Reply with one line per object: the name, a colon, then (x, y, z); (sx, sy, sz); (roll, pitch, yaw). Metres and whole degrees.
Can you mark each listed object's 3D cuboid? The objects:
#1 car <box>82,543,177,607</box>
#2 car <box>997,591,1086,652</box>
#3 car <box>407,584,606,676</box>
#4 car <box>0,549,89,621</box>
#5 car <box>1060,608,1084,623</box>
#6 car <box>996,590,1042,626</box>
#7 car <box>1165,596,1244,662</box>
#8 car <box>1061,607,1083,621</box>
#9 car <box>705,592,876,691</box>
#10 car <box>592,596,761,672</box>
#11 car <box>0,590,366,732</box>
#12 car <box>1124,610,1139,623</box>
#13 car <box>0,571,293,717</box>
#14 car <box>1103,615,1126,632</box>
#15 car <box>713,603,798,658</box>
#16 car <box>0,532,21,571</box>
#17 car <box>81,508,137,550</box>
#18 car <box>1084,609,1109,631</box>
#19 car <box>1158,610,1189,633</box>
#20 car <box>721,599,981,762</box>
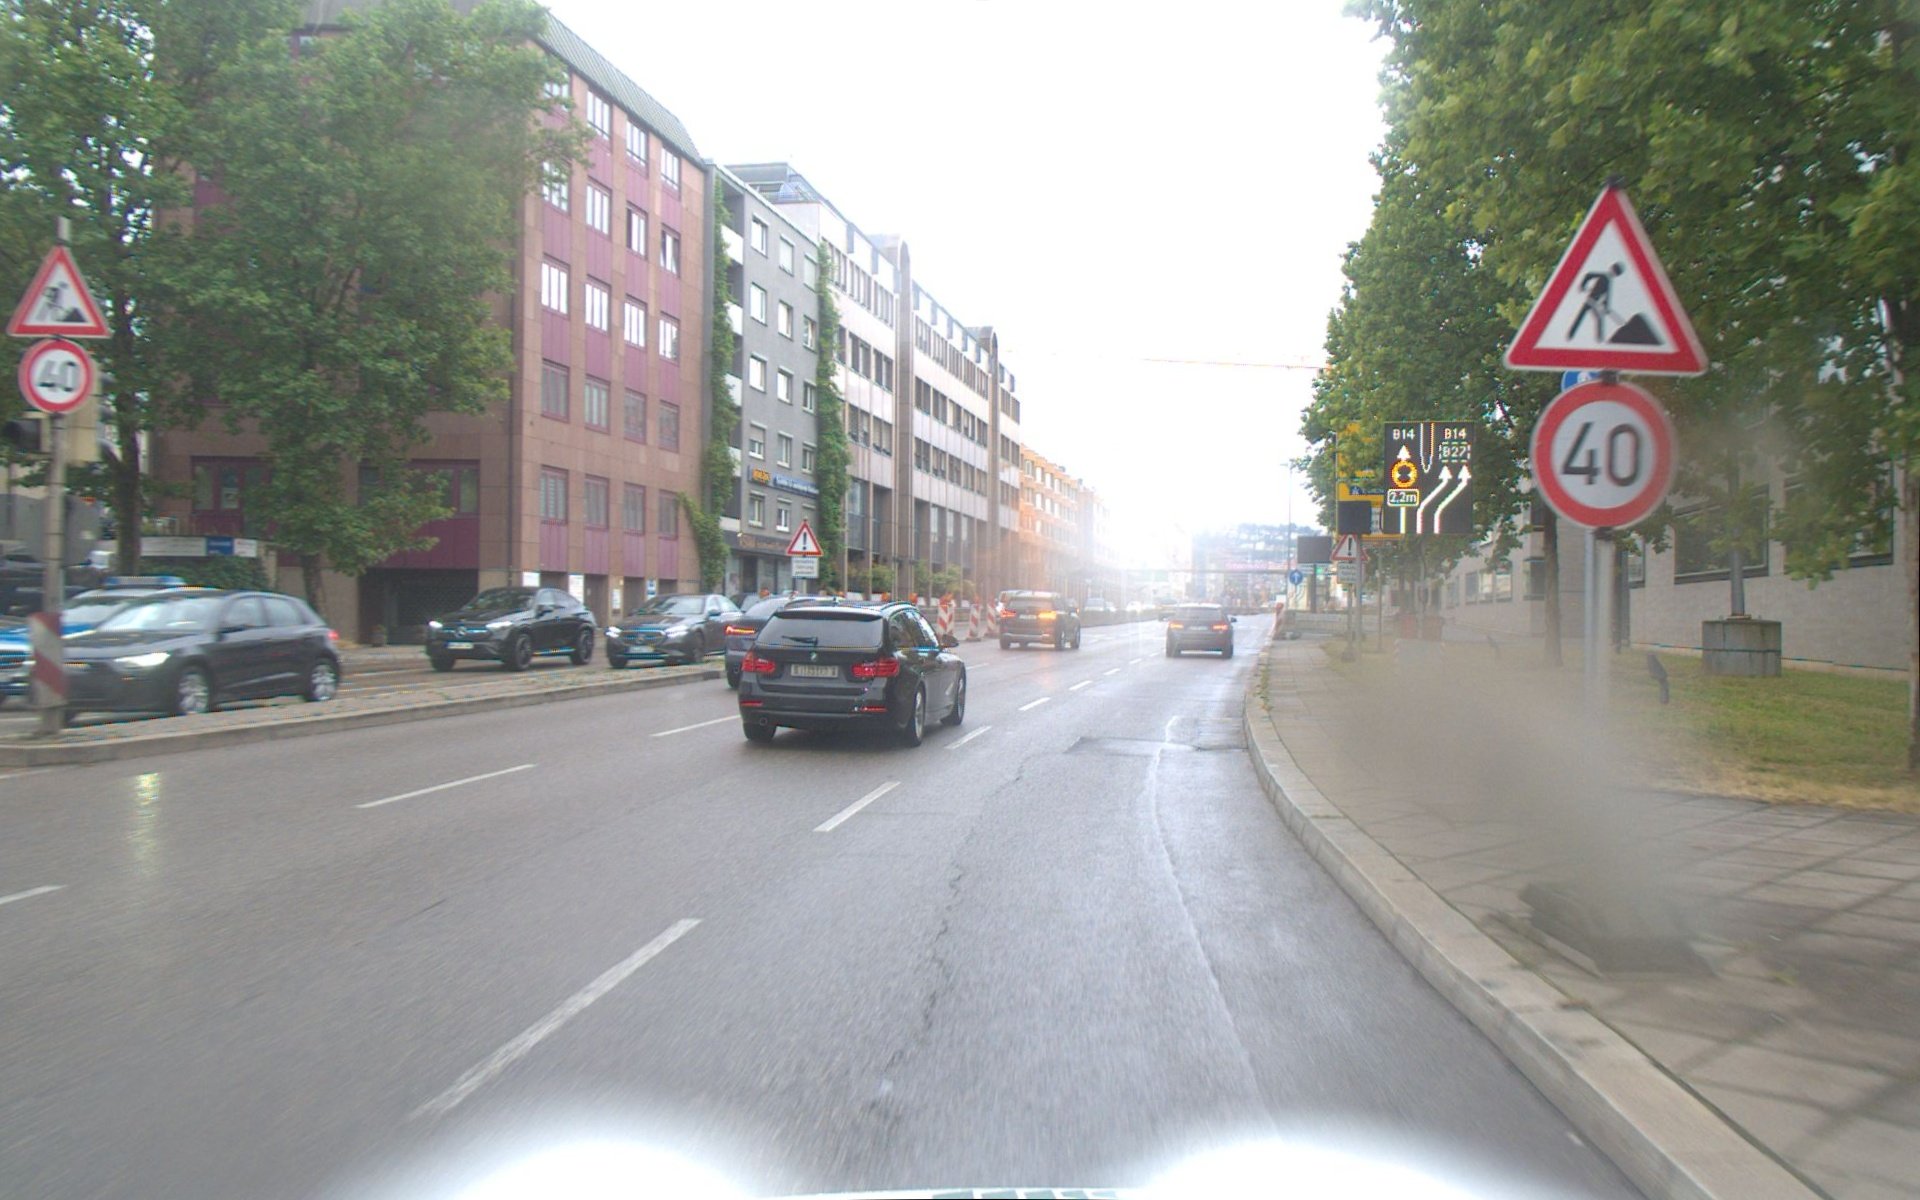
car: (-26.843, -0.840, 53.589); (1.898, 1.900, 3.986); (0, 3, -15)
car: (2.446, 0.631, 48.478); (1.859, 1.723, 4.003); (0, -1, 14)
car: (-9.038, 0.574, 33.481); (1.951, 1.707, 4.941); (-1, 0, 10)
car: (-26.259, -0.449, 47.205); (1.903, 1.900, 3.976); (2, 1, -20)
car: (12.301, 1.708, 181.366); (1.951, 1.648, 4.767); (0, -1, 11)
car: (3.479, 0.502, 96.569); (1.951, 2.025, 5.293); (0, -1, 10)
car: (6.840, 0.787, 45.979); (1.859, 1.723, 4.003); (1, 0, 13)
car: (13.090, 1.614, 192.667); (1.951, 1.648, 4.321); (0, -1, 11)
car: (-2.602, 0.638, 26.444); (1.752, 1.451, 4.387); (0, -1, 7)
car: (-5.856, 0.676, 34.857); (1.951, 1.463, 4.941); (-1, 0, 10)
car: (-8.662, 0.643, 18.875); (1.728, 1.441, 4.086); (0, -1, 10)
car: (21.239, 2.047, 204.914); (1.568, 1.468, 3.661); (0, 1, 11)
car: (-10.923, 0.548, 21.865); (1.728, 1.711, 4.594); (0, -1, 10)
car: (14.640, 2.204, 156.793); (1.820, 1.560, 4.234); (0, -1, 10)
car: (-5.915, 0.868, 48.152); (1.522, 1.510, 2.952); (0, 0, 13)
car: (-38.842, -1.906, 65.395); (1.801, 1.455, 4.059); (0, 4, -12)
car: (-46.110, -3.824, 89.704); (1.962, 2.049, 3.981); (0, -1, -17)
car: (11.615, 1.706, 140.572); (1.684, 1.801, 4.429); (0, -1, 11)
car: (16.053, 1.600, 124.133); (1.859, 1.723, 4.003); (0, -1, 14)
car: (-1.007, 0.762, 17.800); (1.753, 1.451, 4.617); (2, 0, 9)
